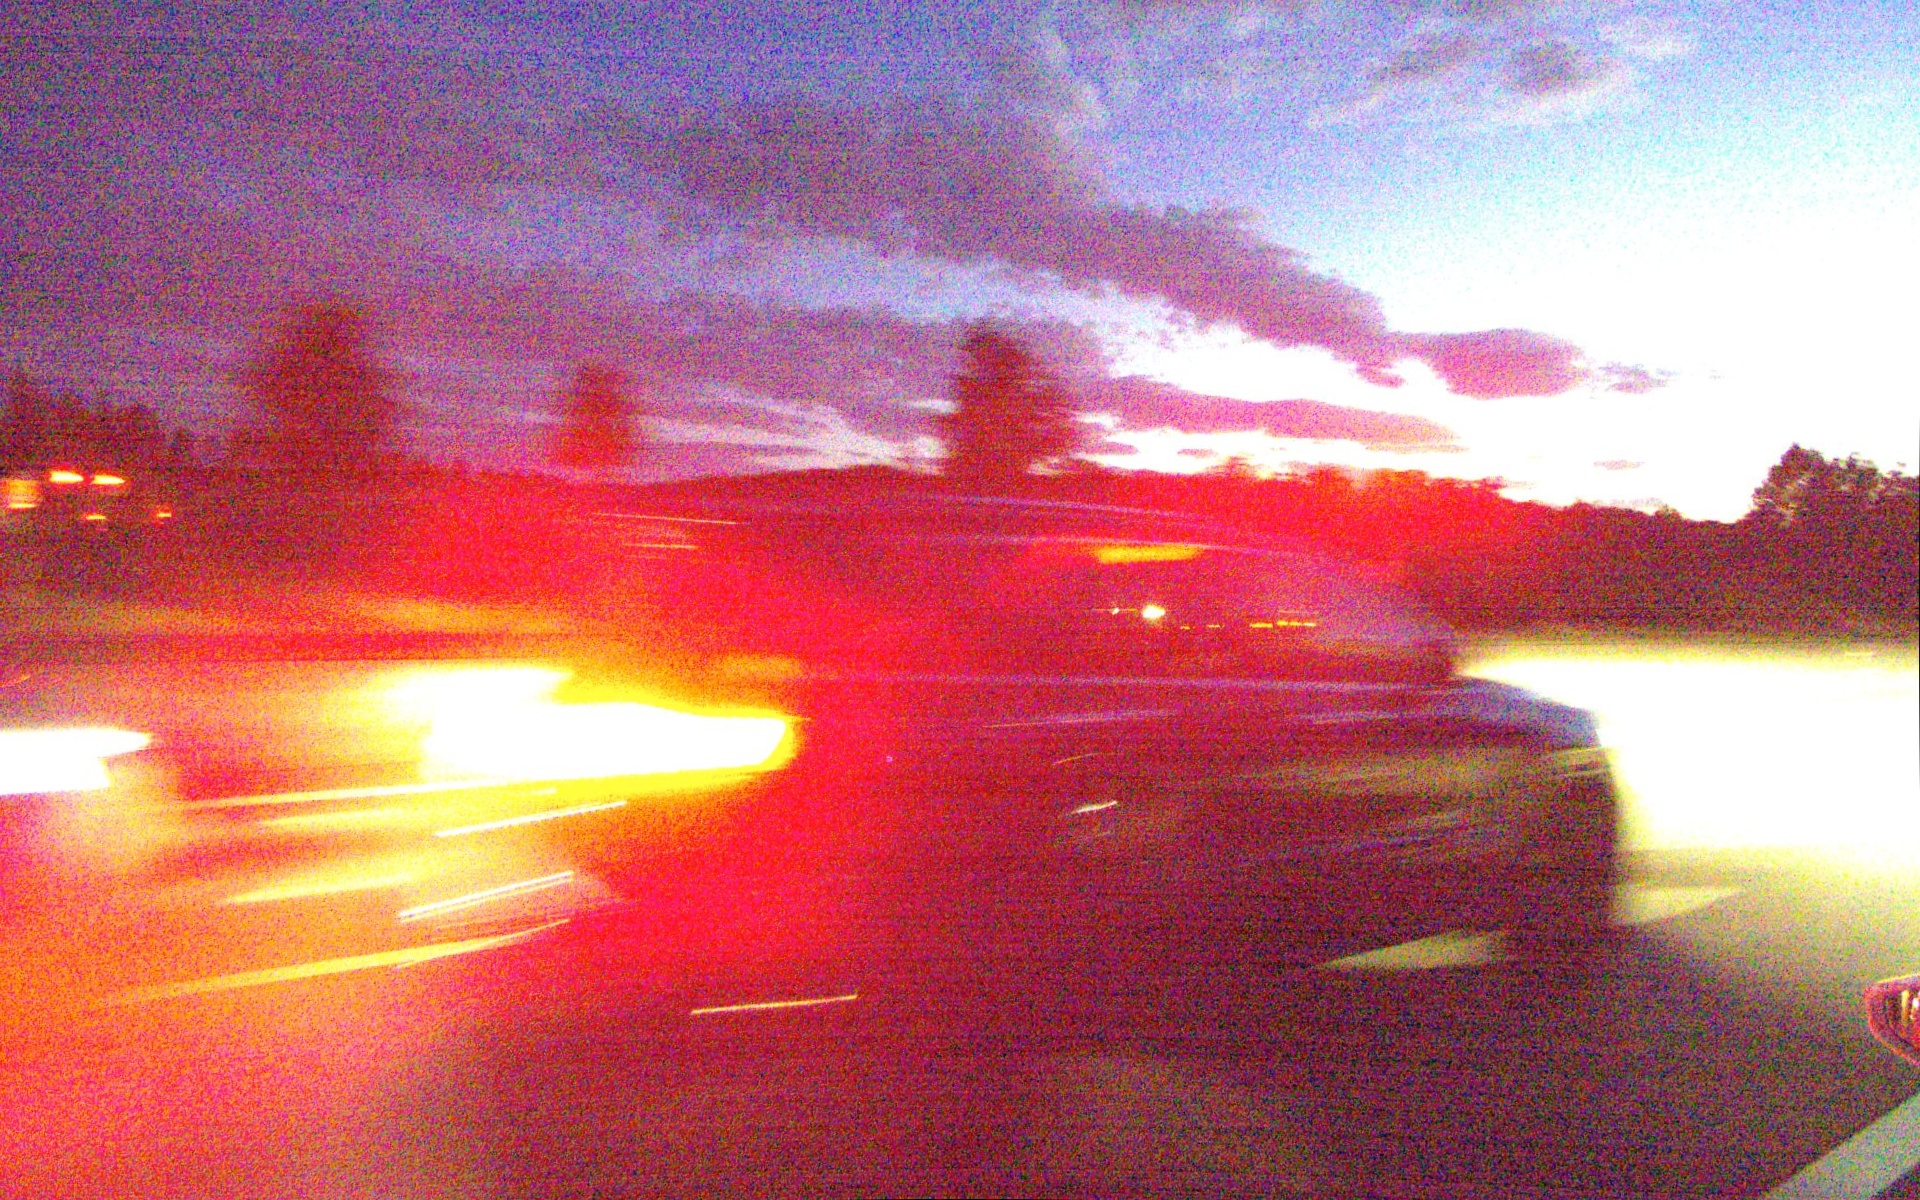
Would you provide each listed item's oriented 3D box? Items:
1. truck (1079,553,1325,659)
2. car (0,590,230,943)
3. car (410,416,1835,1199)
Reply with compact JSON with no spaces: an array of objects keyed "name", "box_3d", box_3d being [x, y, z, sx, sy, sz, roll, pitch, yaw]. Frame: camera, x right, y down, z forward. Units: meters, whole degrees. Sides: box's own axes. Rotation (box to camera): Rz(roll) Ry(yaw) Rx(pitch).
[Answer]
[{"name":"truck","box_3d":[7.234,0.158,29.530,7.534,2.763,2.186,1,3,-30]},{"name":"car","box_3d":[-6.148,0.621,3.682,5.452,1.450,1.541,2,-1,-32]},{"name":"car","box_3d":[1.111,0.584,4.114,5.872,1.744,1.984,1,-1,-30]}]
